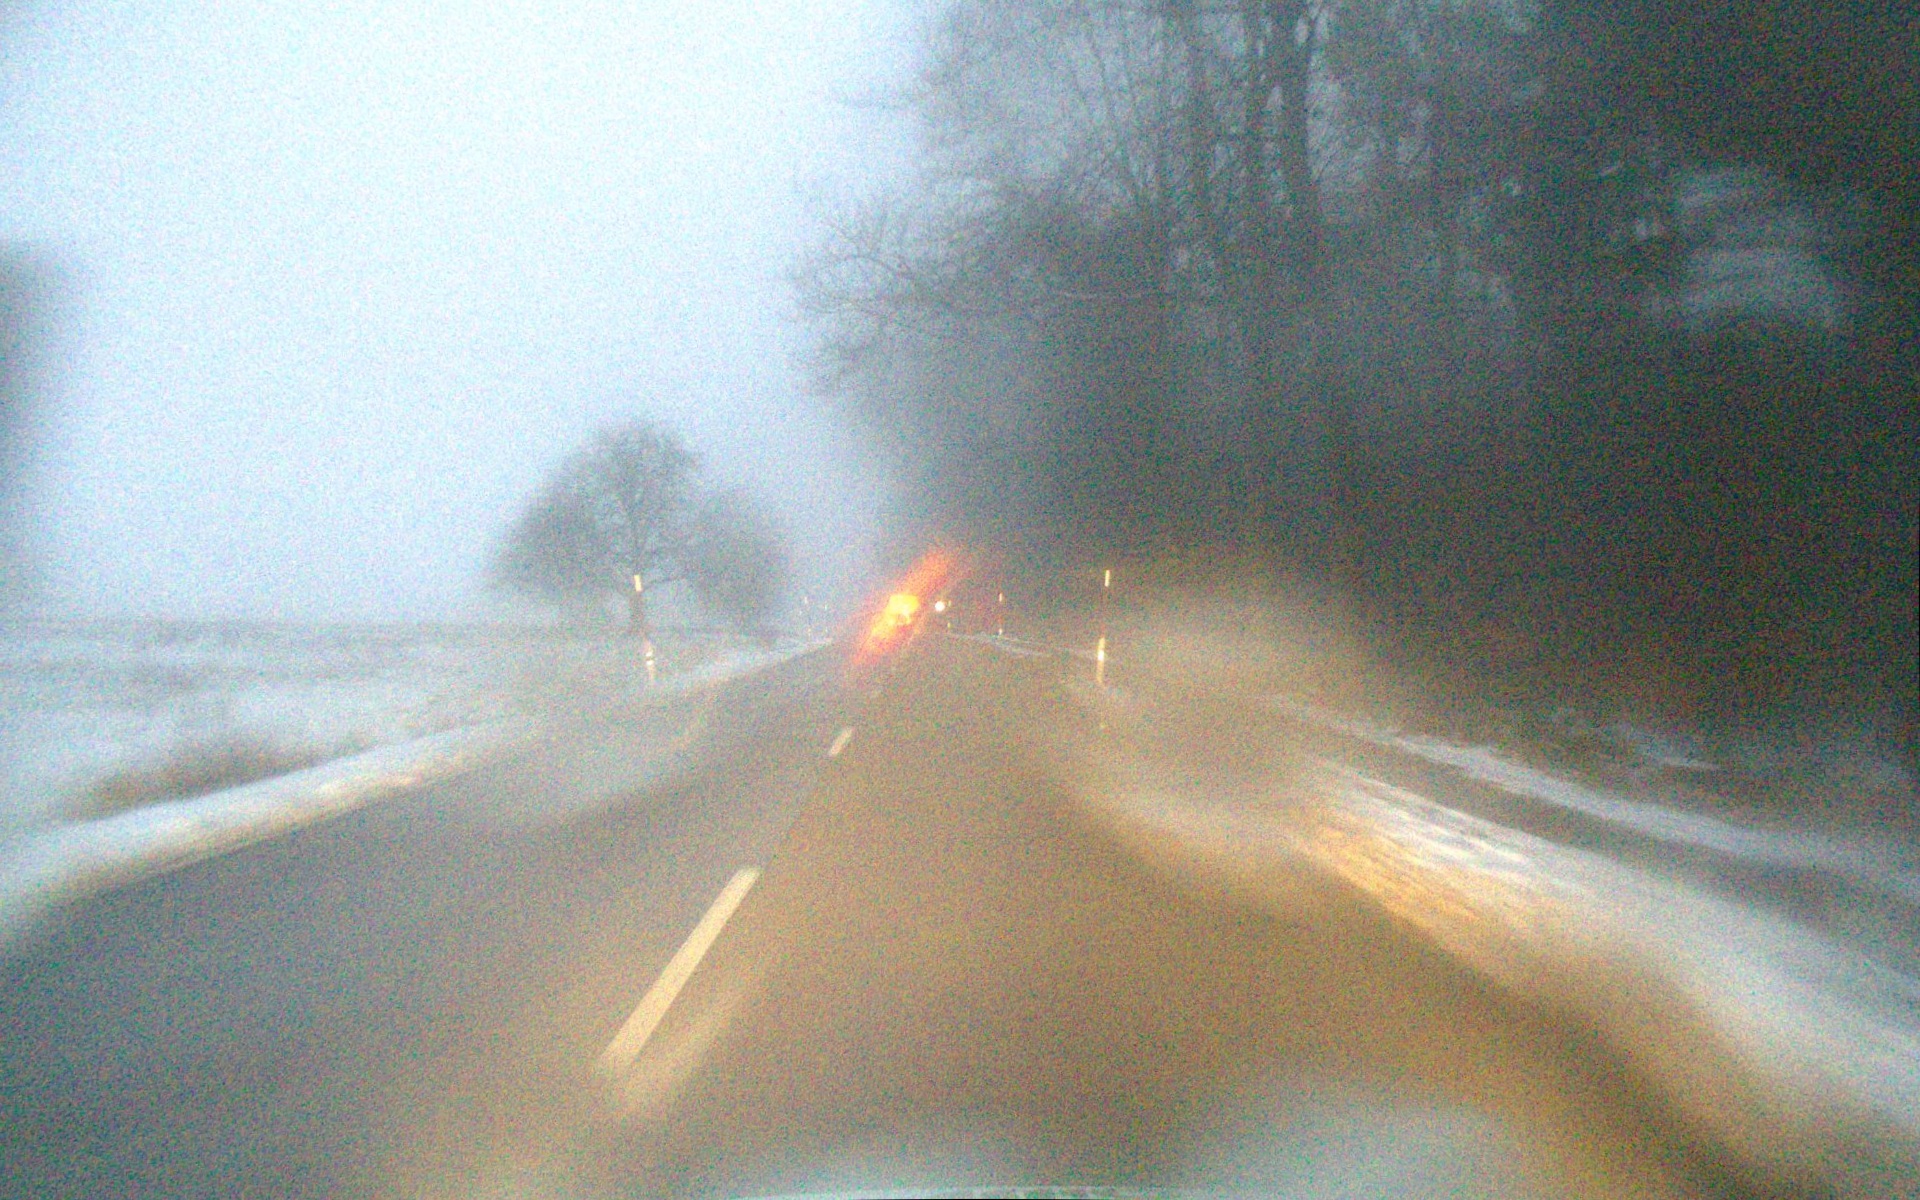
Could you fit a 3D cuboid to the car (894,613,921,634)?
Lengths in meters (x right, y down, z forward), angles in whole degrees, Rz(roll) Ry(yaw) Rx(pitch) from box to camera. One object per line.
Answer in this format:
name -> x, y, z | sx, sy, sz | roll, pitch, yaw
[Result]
car -> -3.879, 1.738, 122.348 | 1.953, 1.445, 3.998 | -2, 0, -2
